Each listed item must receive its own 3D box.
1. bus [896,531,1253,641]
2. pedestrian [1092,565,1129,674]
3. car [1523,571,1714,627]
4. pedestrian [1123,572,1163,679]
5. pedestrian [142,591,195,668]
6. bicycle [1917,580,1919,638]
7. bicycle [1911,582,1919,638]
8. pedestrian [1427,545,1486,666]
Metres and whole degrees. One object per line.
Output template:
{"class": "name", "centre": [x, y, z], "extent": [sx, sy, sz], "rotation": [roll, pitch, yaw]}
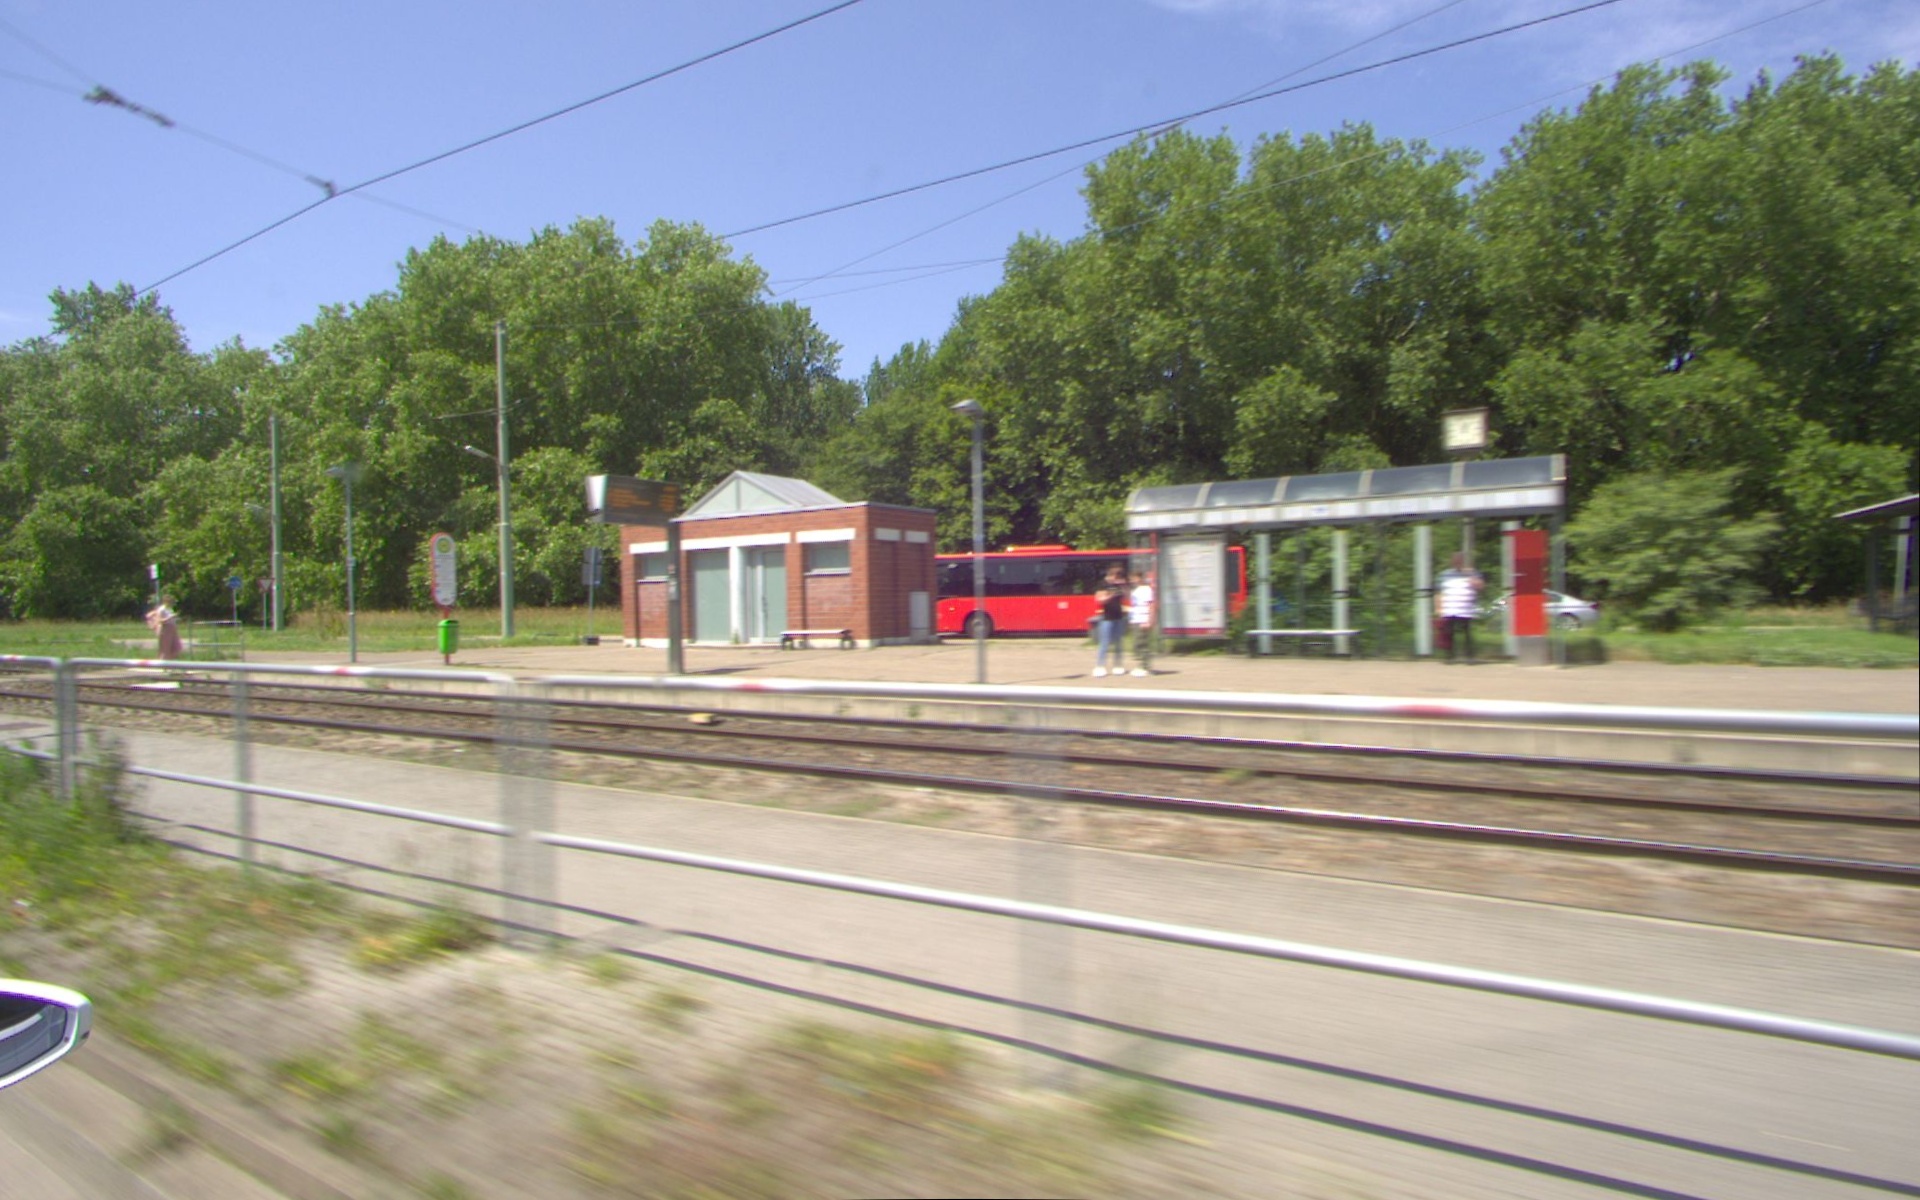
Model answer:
{"class": "bus", "centre": [3.997, -0.354, 35.750], "extent": [12.213, 3.483, 2.767], "rotation": [-1, -1, 13]}
{"class": "pedestrian", "centre": [2.349, 0.305, 15.597], "extent": [0.439, 1.667, 0.359], "rotation": [-1, -1, 35]}
{"class": "car", "centre": [20.739, -0.025, 31.739], "extent": [4.637, 1.651, 1.998], "rotation": [-1, 1, 12]}
{"class": "pedestrian", "centre": [2.807, 0.391, 15.392], "extent": [0.476, 1.617, 0.359], "rotation": [-1, -1, 35]}
{"class": "pedestrian", "centre": [-18.588, 0.695, 23.520], "extent": [0.802, 1.782, 0.635], "rotation": [-1, -1, 19]}
{"class": "bicycle", "centre": [19.245, 0.198, 18.486], "extent": [2.159, 1.102, 0.596], "rotation": [2, 2, 33]}
{"class": "bicycle", "centre": [19.985, 0.218, 19.394], "extent": [2.159, 1.102, 0.596], "rotation": [2, 2, 33]}
{"class": "pedestrian", "centre": [7.554, 0.092, 15.250], "extent": [0.730, 1.797, 0.380], "rotation": [-1, -1, 35]}
